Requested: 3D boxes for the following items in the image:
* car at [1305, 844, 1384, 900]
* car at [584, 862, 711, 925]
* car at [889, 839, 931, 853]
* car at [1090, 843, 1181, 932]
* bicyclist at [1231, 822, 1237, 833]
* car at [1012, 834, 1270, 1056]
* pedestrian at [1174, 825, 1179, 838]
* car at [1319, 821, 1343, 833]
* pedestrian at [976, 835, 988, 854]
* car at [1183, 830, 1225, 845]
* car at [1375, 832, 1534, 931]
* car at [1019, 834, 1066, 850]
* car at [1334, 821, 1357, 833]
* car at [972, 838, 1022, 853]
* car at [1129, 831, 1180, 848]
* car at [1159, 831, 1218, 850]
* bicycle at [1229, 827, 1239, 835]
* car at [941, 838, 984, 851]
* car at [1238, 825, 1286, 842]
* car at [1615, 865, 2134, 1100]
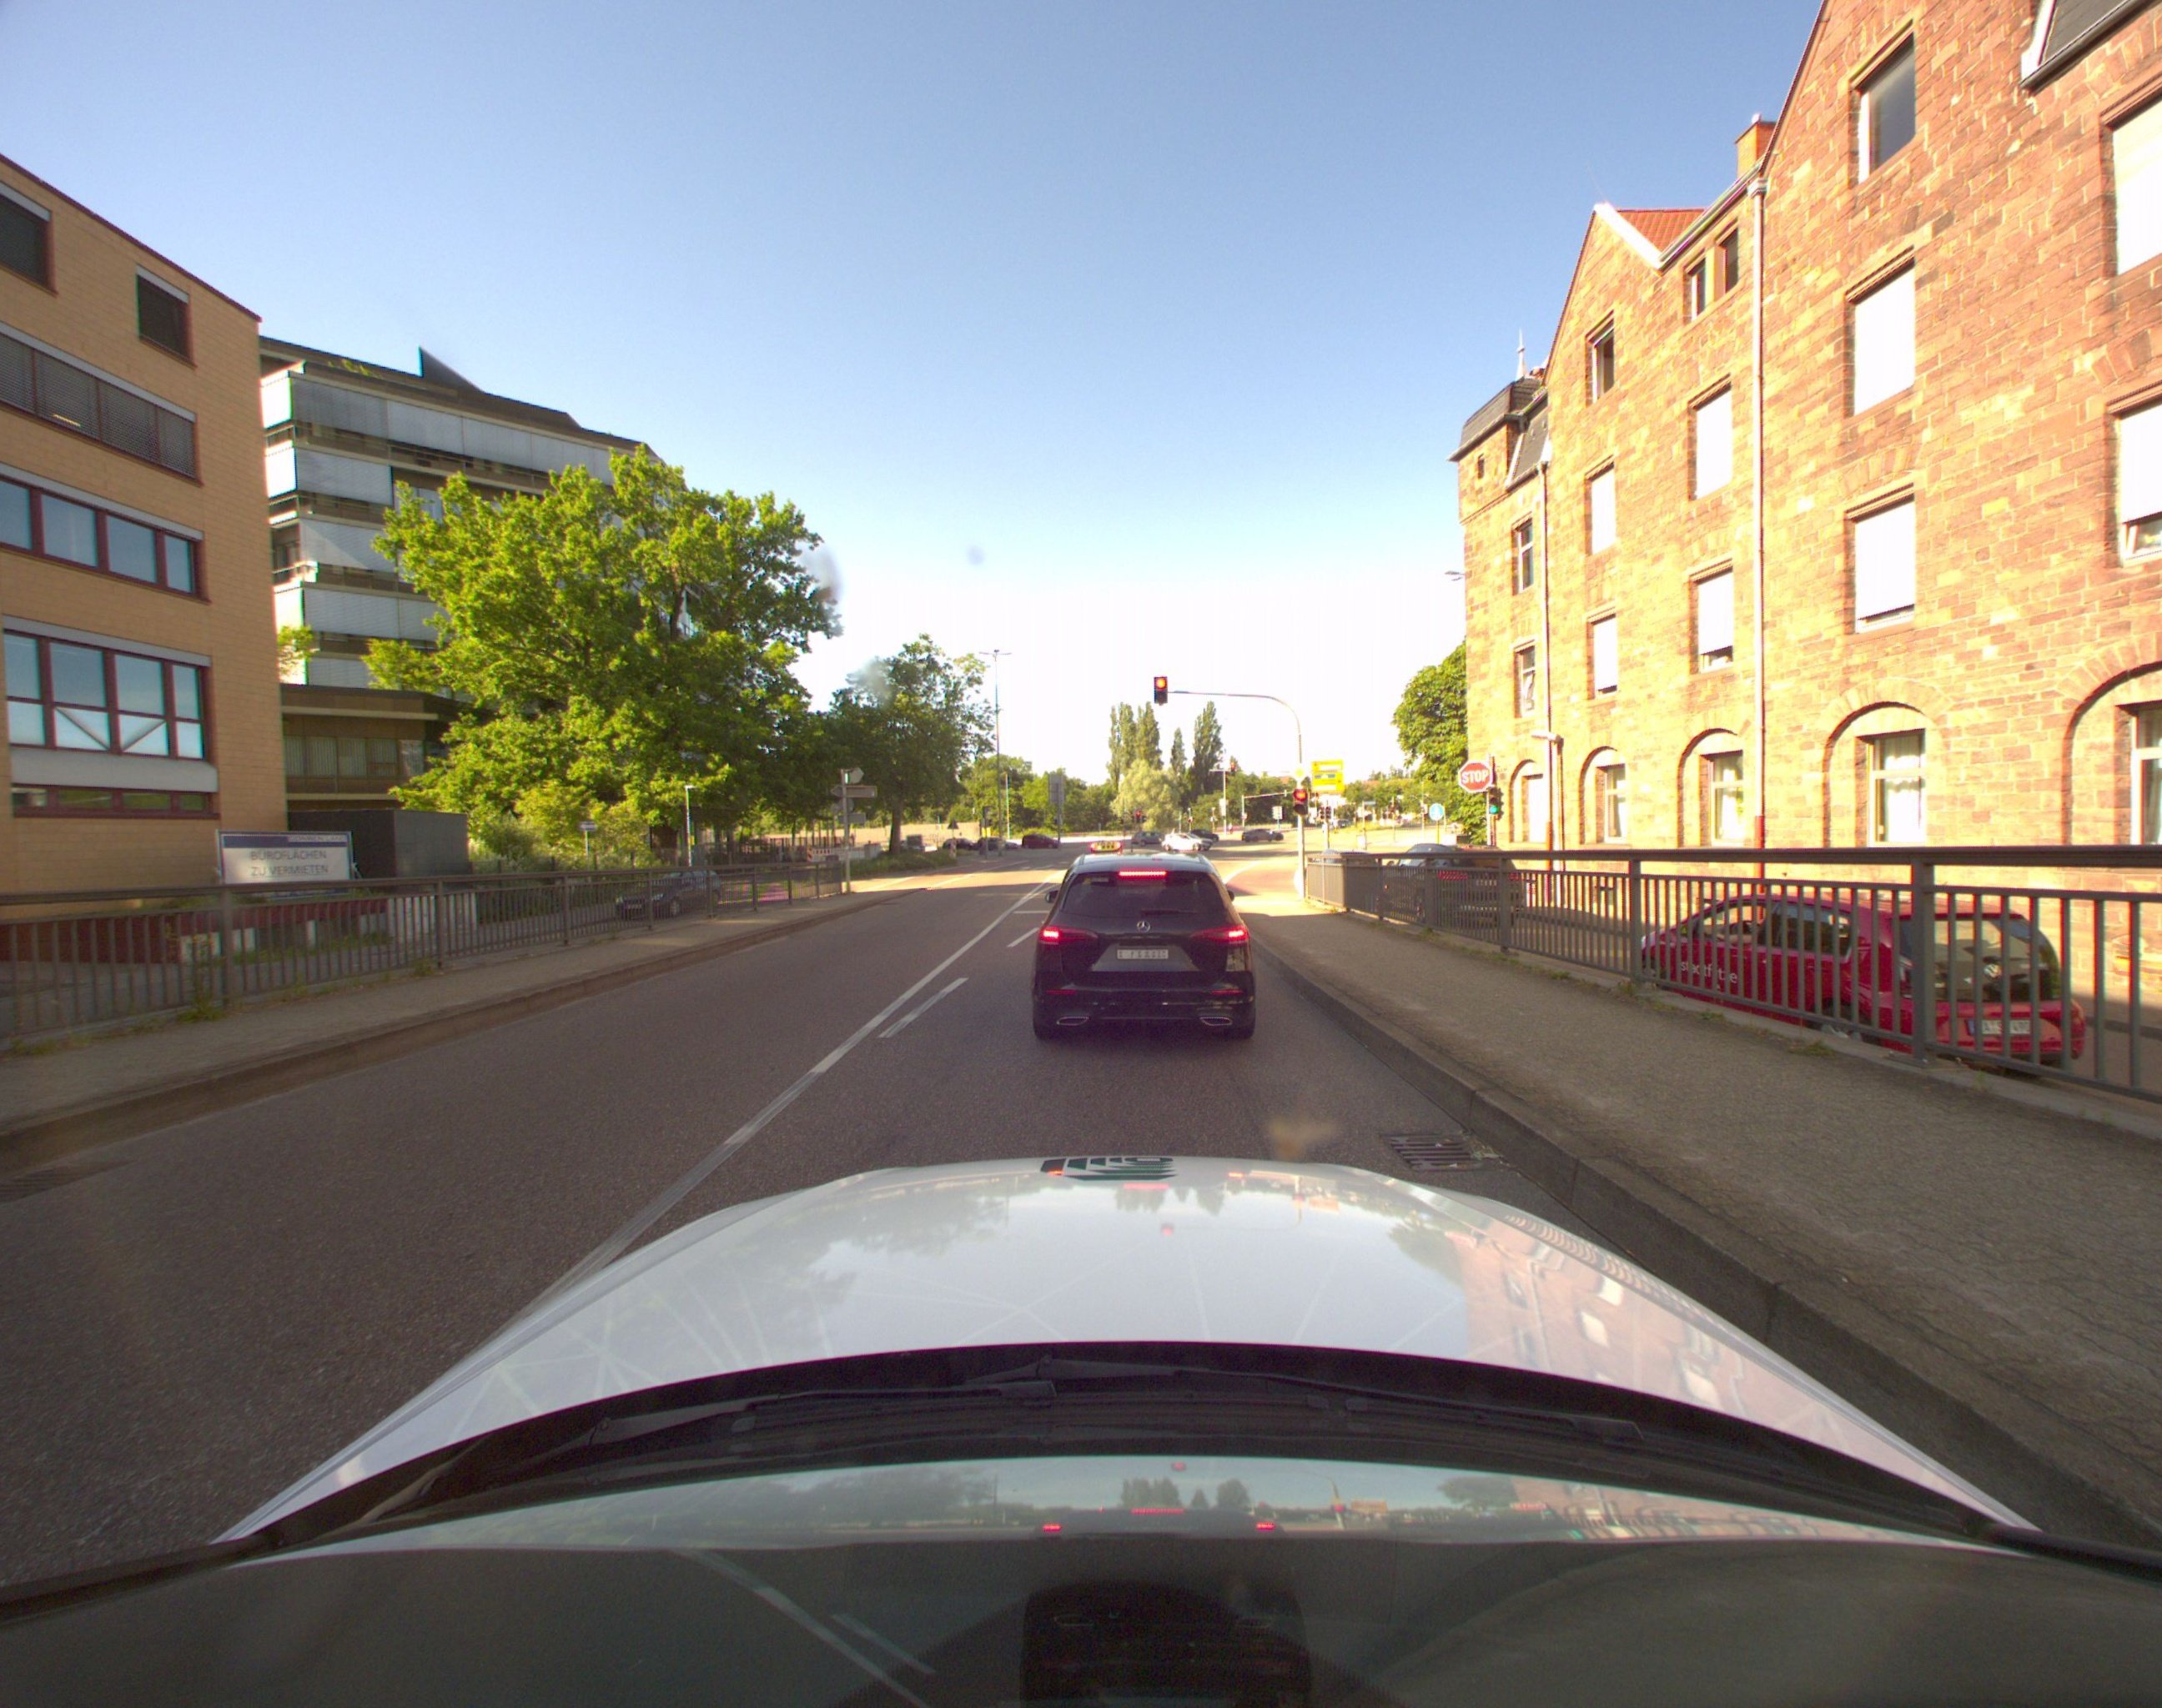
[{"bbox_3d":[8.931,0.536,27.963,1.713,1.603,4.305,0,3,6],"label":"car"},{"bbox_3d":[-13.955,1.197,26.501,1.844,1.692,4.002,-2,2,2],"label":"car"},{"bbox_3d":[-18.648,-0.853,88.814,4.258,1.365,2.013,-1,3,33],"label":"car"},{"bbox_3d":[1.134,0.603,16.829,1.632,1.529,3.478,-2,1,4],"label":"car"},{"bbox_3d":[21.455,-3.749,114.131,0.520,1.551,0.812,-2,1,35],"label":"bicyclist"},{"bbox_3d":[0.500,0.646,7.951,1.871,1.613,4.002,0,1,2],"label":"car"},{"bbox_3d":[12.056,-2.873,102.940,0.446,1.585,0.504,-2,1,42],"label":"pedestrian"},{"bbox_3d":[35.066,-3.759,114.109,1.860,1.578,4.026,-1,2,38],"label":"car"},{"bbox_3d":[-8.305,-0.793,68.391,0.700,1.525,0.746,-1,1,12],"label":"pedestrian"},{"bbox_3d":[13.032,-1.746,86.255,4.058,1.357,1.784,-3,2,-5],"label":"car"},{"bbox_3d":[8.311,0.508,18.568,1.715,1.811,4.300,-3,3,2],"label":"car"},{"bbox_3d":[-4.027,-1.312,86.092,4.502,1.455,2.009,-2,2,16],"label":"car"},{"bbox_3d":[38.764,-4.007,119.182,1.860,1.578,4.026,-1,2,38],"label":"car"},{"bbox_3d":[-8.516,-0.832,82.663,4.542,1.294,2.010,-2,2,18],"label":"car"},{"bbox_3d":[7.290,-1.485,81.157,4.794,1.441,1.999,-3,2,-2],"label":"car"},{"bbox_3d":[8.627,-1.069,65.431,4.176,1.294,2.013,-1,3,34],"label":"car"},{"bbox_3d":[21.468,-3.271,114.151,0.520,1.050,2.003,-2,1,35],"label":"bicycle"},{"bbox_3d":[-13.096,-1.041,90.007,4.535,1.294,1.899,-1,3,34],"label":"car"},{"bbox_3d":[18.335,-2.081,82.442,4.279,1.441,1.995,-3,2,-9],"label":"car"},{"bbox_3d":[7.139,1.007,7.912,1.715,1.521,3.488,-2,3,2],"label":"car"}]
